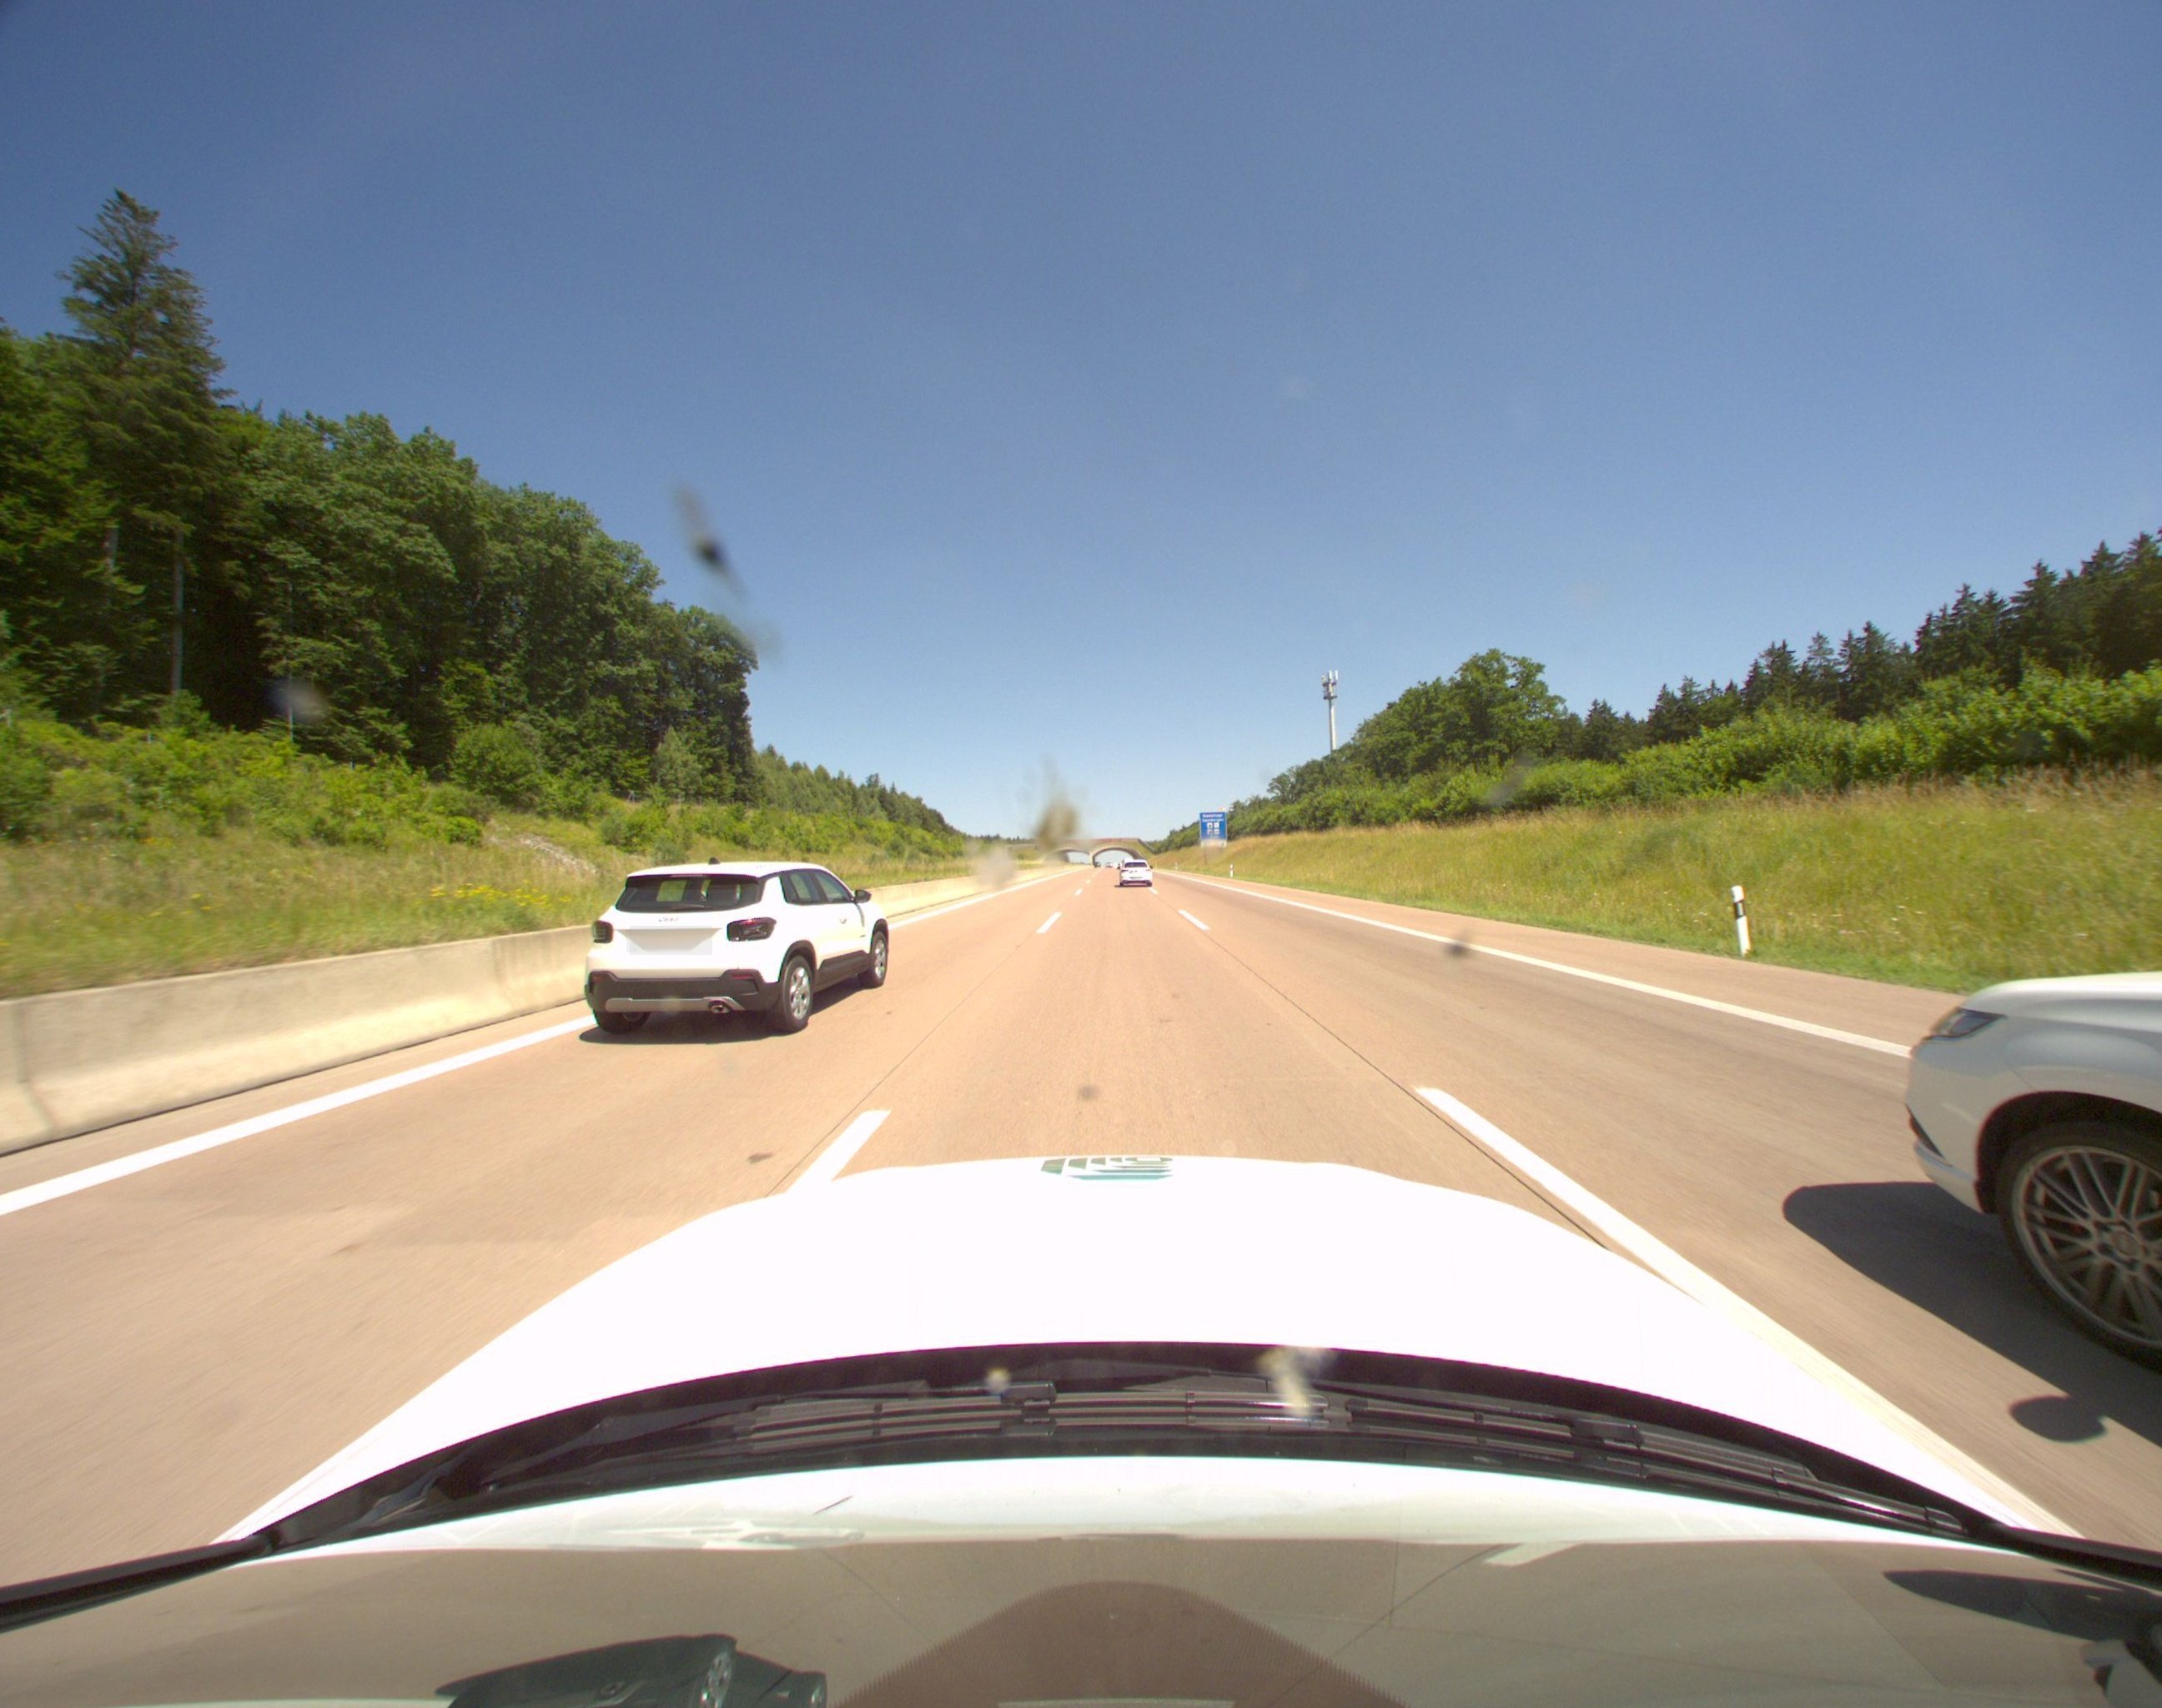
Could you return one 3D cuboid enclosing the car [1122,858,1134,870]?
[{"bbox_3d":[8.406,1.737,145.946,2.101,2.054,4.004,-1,0,4],"label":"car"}]

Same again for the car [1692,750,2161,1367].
[{"bbox_3d":[3.934,0.555,1.477,1.883,1.728,5.188,-1,0,2],"label":"car"}]

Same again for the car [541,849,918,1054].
[{"bbox_3d":[-3.284,0.791,8.903,1.872,1.607,4.836,-1,0,2],"label":"car"}]

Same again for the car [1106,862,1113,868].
[{"bbox_3d":[7.523,2.957,216.396,1.883,1.463,4.002,0,0,2],"label":"car"}]

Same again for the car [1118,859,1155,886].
[{"bbox_3d":[3.035,0.975,44.524,1.882,1.398,4.004,0,0,4],"label":"car"}]

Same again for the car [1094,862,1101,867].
[{"bbox_3d":[4.942,3.170,244.751,1.882,1.463,4.004,-1,0,4],"label":"car"}]
